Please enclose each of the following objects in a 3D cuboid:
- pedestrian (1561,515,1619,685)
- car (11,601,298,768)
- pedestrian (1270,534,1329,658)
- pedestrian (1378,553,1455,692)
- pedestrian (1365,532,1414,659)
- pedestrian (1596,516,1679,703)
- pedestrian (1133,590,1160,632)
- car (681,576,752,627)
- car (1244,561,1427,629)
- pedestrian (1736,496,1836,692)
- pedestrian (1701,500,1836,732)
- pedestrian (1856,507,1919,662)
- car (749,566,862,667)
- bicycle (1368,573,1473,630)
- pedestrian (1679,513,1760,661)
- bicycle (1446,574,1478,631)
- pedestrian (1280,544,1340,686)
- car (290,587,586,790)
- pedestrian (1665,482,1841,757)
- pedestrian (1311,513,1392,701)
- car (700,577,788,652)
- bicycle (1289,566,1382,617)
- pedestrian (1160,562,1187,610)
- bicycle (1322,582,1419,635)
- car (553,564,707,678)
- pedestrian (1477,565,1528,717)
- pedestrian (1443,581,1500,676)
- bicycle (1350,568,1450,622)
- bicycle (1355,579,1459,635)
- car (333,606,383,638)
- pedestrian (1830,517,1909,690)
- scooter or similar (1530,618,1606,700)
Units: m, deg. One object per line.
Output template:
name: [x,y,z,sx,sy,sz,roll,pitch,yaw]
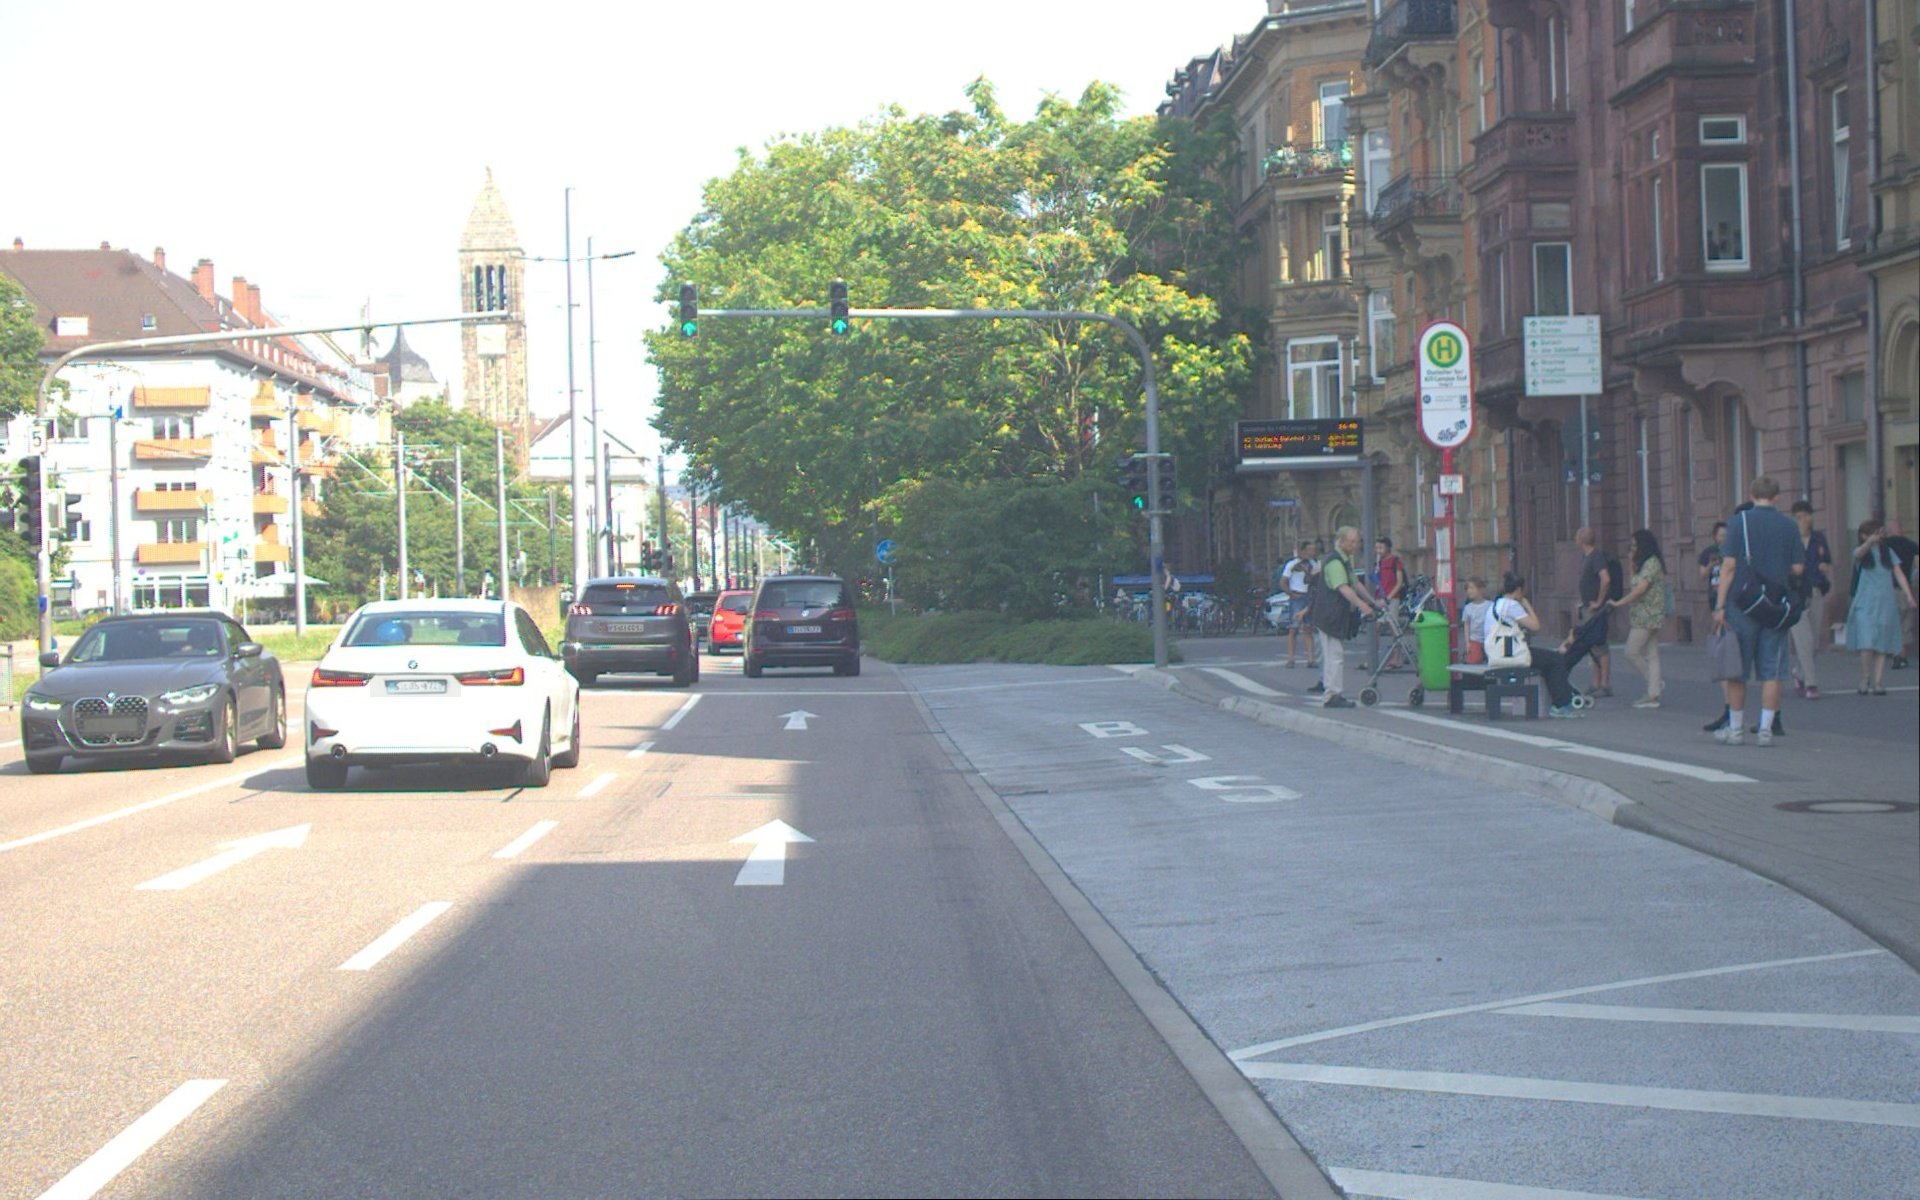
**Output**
pedestrian: [6.475,-0.003,35.361,0.341,1.726,0.806,-2,1,-5]
car: [-7.422,0.733,32.095,1.713,1.326,4.521,-3,1,-2]
pedestrian: [4.620,-0.060,46.787,0.690,1.658,0.619,-2,1,-1]
pedestrian: [4.281,0.208,32.259,0.565,1.273,0.597,-2,1,-6]
pedestrian: [5.789,-0.063,46.367,0.481,1.696,0.703,-2,1,-5]
pedestrian: [6.331,0.085,32.151,0.565,1.723,0.617,-2,1,-5]
pedestrian: [4.750,0.285,87.530,0.443,1.067,0.487,-2,1,-32]
car: [-7.022,0.038,99.371,1.864,1.419,4.357,0,1,-2]
car: [9.381,-0.141,86.008,4.179,1.558,2.000,-2,1,-6]
pedestrian: [7.736,-0.060,32.229,0.617,1.798,1.071,-2,0,-1]
pedestrian: [6.167,0.114,26.261,0.749,1.723,0.801,-2,1,-5]
pedestrian: [10.509,-0.181,38.632,0.629,1.713,0.691,-2,1,-2]
car: [-2.560,0.251,57.737,1.831,1.615,4.357,0,1,-2]
bicycle: [8.933,0.025,66.756,1.927,1.044,0.500,-2,0,-7]
pedestrian: [9.037,-0.159,40.917,0.701,1.718,0.897,-2,1,-2]
bicycle: [9.480,0.036,64.970,0.416,1.044,1.670,-2,1,3]
pedestrian: [4.035,0.164,39.658,0.528,1.606,0.703,-2,1,-5]
car: [-4.070,0.640,27.490,1.809,1.422,4.775,1,1,-2]
pedestrian: [5.429,0.127,23.565,0.925,1.825,0.801,-2,1,-5]
pedestrian: [3.673,0.061,32.290,0.565,1.723,0.745,-2,1,-5]
car: [-4.885,0.305,78.131,1.831,1.615,4.357,0,1,-2]
bicycle: [8.212,-0.183,75.183,1.927,1.044,0.527,-2,0,-7]
pedestrian: [5.552,-0.370,89.462,0.597,1.244,0.507,-2,0,-2]
bicycle: [8.583,0.166,71.911,1.927,1.044,0.527,-2,0,-7]
car: [-4.880,0.283,51.347,1.993,1.615,4.357,0,1,-2]
pedestrian: [4.618,0.345,29.274,0.275,1.270,0.448,-2,1,-9]
pedestrian: [4.484,0.245,30.148,0.303,0.817,0.604,-2,1,-9]
bicycle: [8.915,-0.104,69.691,1.927,1.044,0.500,-2,0,-7]
bicycle: [8.780,0.140,67.521,1.927,1.044,0.500,-2,0,-7]
car: [-29.905,1.090,170.866,1.993,1.495,4.001,-2,1,-4]
pedestrian: [8.597,0.030,32.518,0.486,1.605,0.813,-2,0,-1]
scooter or similar: [5.670,0.547,32.079,0.565,0.739,0.514,-2,1,-5]
